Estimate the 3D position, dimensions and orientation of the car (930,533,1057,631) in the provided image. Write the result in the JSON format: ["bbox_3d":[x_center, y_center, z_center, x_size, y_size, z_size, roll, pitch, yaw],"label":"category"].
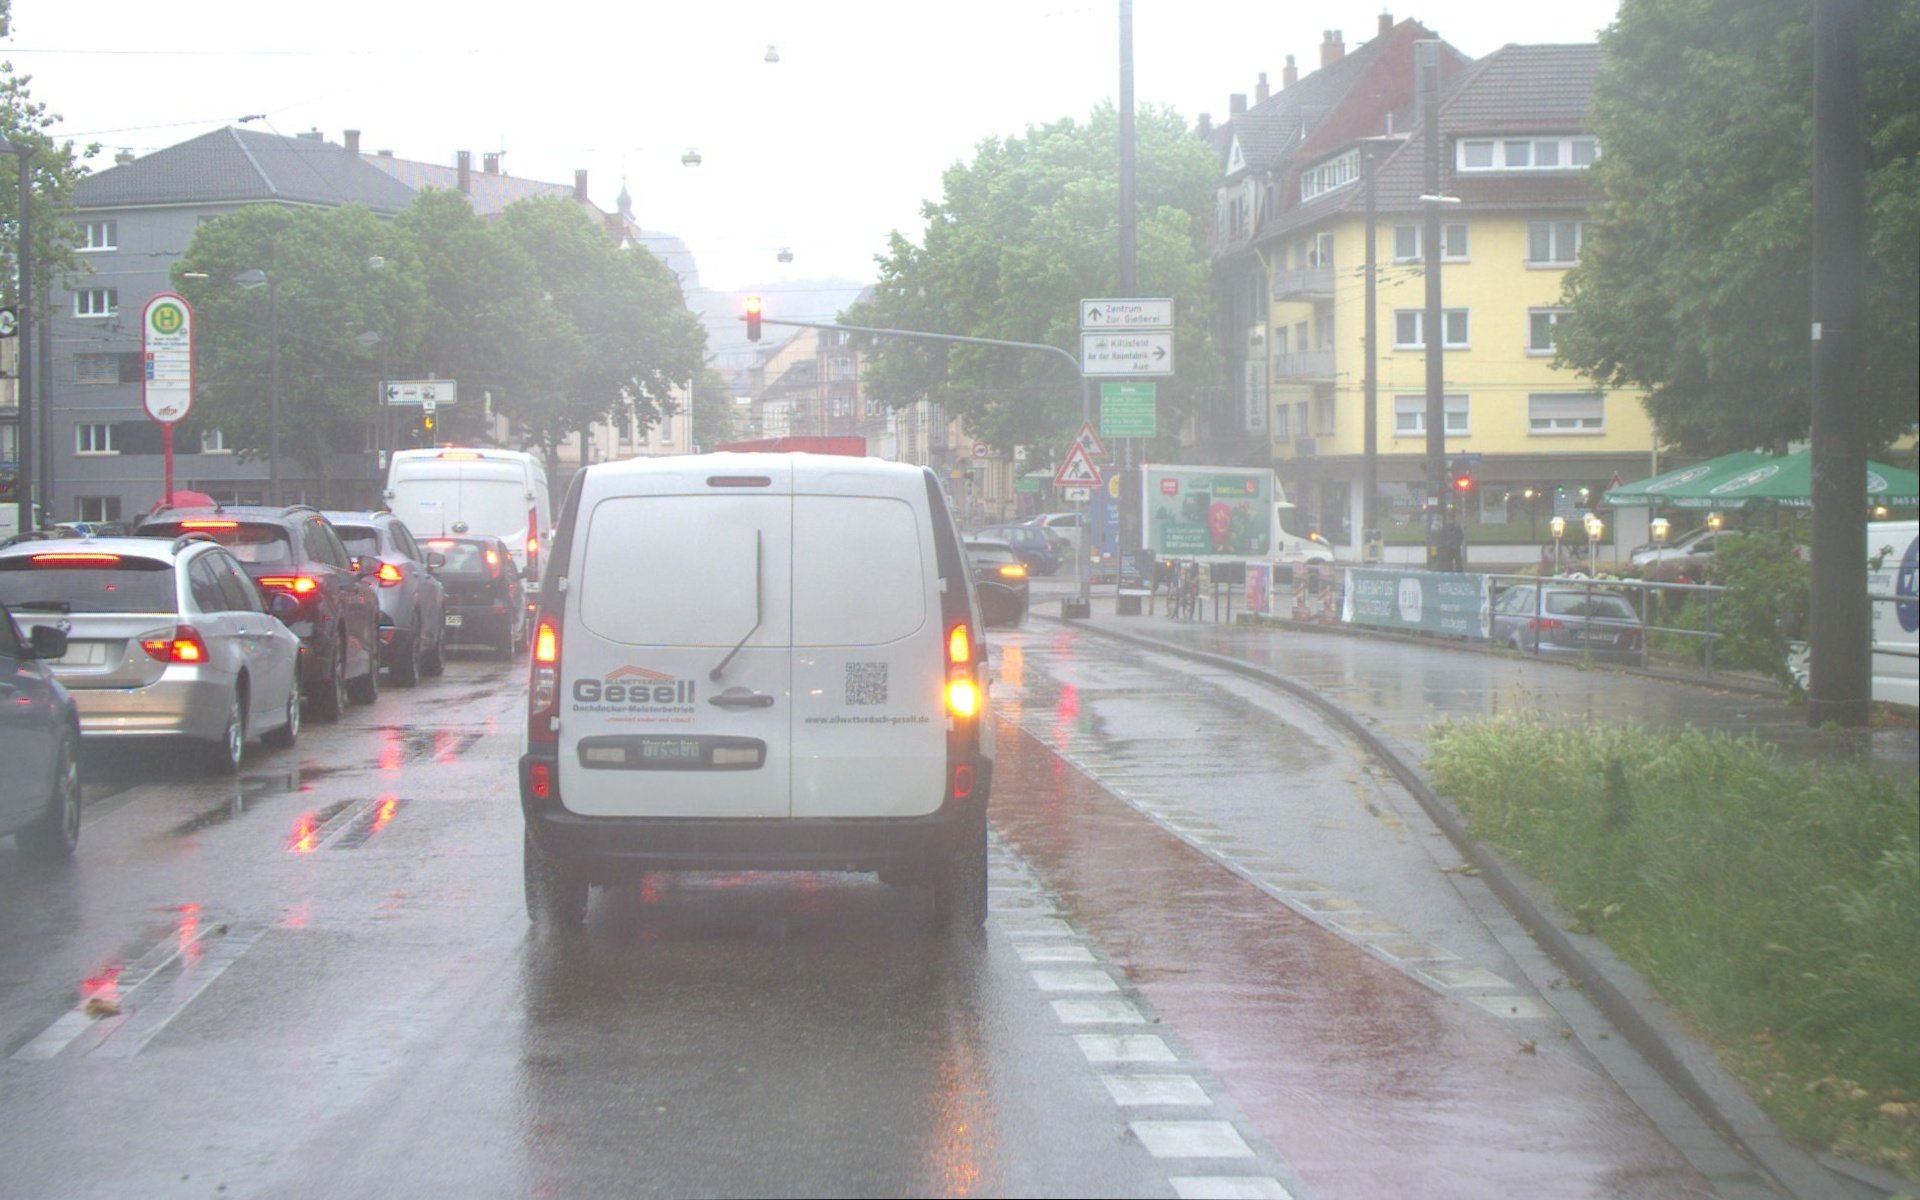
[{"bbox_3d":[0.543,-0.321,56.170,1.993,1.536,4.000,0,1,1],"label":"car"}]

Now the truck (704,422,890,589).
[{"bbox_3d":[-5.249,-2.990,107.804,3.277,4.882,11.405,-2,2,-15],"label":"truck"}]

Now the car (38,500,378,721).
[{"bbox_3d":[-5.892,0.046,27.444,1.993,1.573,4.293,1,1,-4],"label":"car"}]

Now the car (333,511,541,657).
[{"bbox_3d":[-6.038,-0.207,40.135,1.993,1.573,4.293,1,1,-4],"label":"car"}]

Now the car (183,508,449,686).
[{"bbox_3d":[-6.168,-0.057,33.387,1.993,1.573,4.293,1,1,-4],"label":"car"}]

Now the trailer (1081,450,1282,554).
[{"bbox_3d":[5.194,-2.253,80.216,4.655,2.309,1.999,0,0,-42],"label":"trailer"}]

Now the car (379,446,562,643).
[{"bbox_3d":[-6.432,-0.739,45.636,1.993,2.433,4.613,1,1,-4],"label":"car"}]

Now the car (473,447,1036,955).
[{"bbox_3d":[-0.825,0.349,13.832,1.959,1.771,3.570,0,0,-4],"label":"car"}]

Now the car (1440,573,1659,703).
[{"bbox_3d":[7.794,0.468,45.829,1.822,1.485,4.354,-2,2,-5],"label":"car"}]

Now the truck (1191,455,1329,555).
[{"bbox_3d":[7.148,-2.243,81.937,2.641,2.291,1.999,0,0,-42],"label":"truck"}]

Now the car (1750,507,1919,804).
[{"bbox_3d":[9.277,0.442,31.468,2.179,2.523,5.779,-2,2,-6],"label":"car"}]

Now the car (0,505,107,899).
[{"bbox_3d":[-4.802,0.430,13.652,1.993,1.532,4.134,-2,2,-4],"label":"car"}]

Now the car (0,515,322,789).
[{"bbox_3d":[-5.294,0.243,21.611,1.993,1.467,4.267,1,2,-4],"label":"car"}]

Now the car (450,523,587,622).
[{"bbox_3d":[-7.545,-0.489,59.117,1.993,1.591,4.613,1,1,-4],"label":"car"}]

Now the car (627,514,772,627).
[{"bbox_3d":[-3.537,-0.404,47.224,1.760,1.464,3.533,1,0,-1],"label":"car"}]
